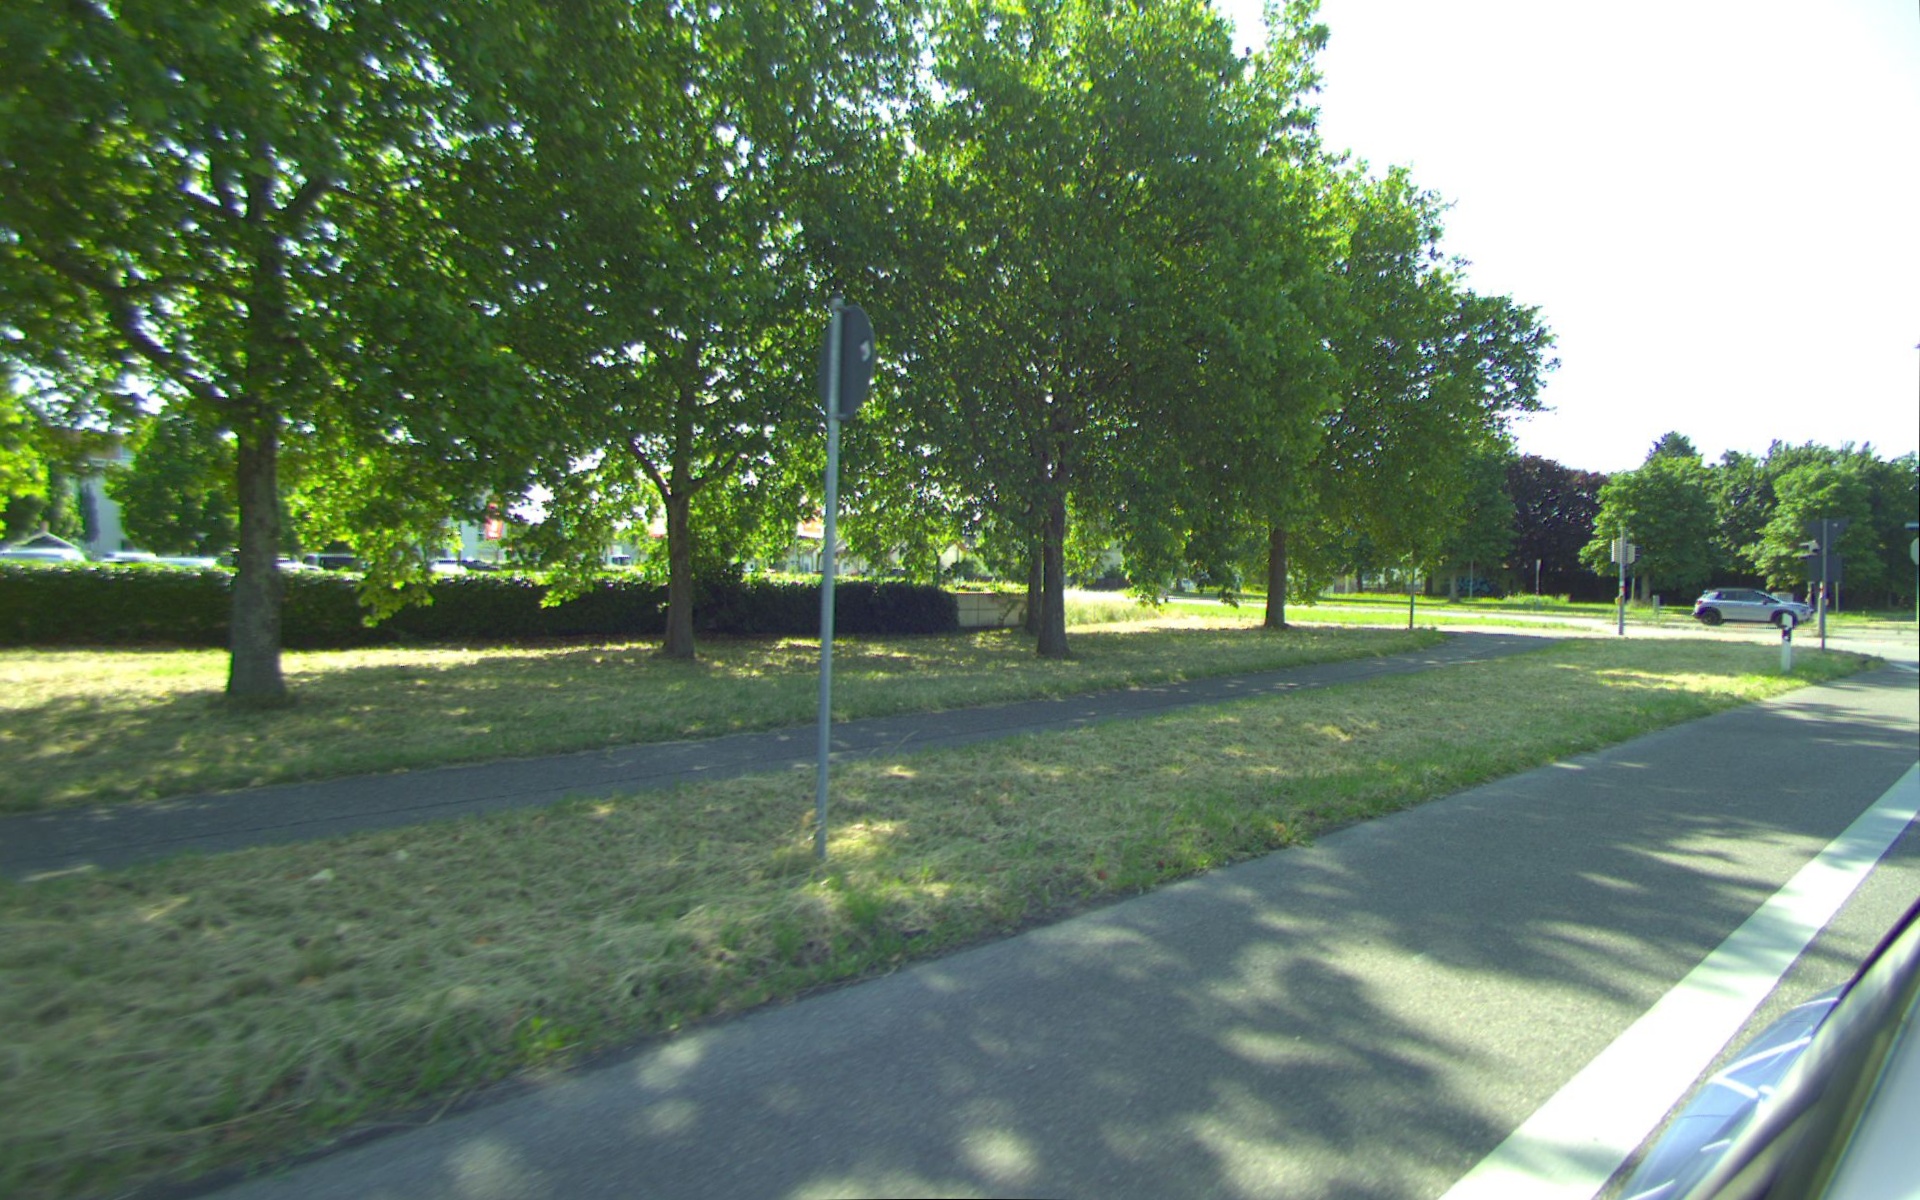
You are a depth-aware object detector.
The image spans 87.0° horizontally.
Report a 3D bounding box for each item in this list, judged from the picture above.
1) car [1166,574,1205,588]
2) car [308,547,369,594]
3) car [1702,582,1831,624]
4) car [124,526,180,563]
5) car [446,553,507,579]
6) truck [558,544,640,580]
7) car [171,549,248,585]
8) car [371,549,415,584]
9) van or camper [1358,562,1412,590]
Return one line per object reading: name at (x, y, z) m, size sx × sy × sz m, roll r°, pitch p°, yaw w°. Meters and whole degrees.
car at (22.462, -1.882, 100.726) m, size 3.929 × 1.304 × 1.731 m, roll 0°, pitch 2°, yaw -40°
car at (-24.881, -1.187, 40.448) m, size 1.961 × 1.749 × 4.003 m, roll 0°, pitch 2°, yaw -33°
car at (34.453, 0.092, 43.307) m, size 1.712 × 1.583 × 4.059 m, roll 0°, pitch 2°, yaw -41°
car at (-43.539, -2.949, 54.606) m, size 1.961 × 1.882 × 4.003 m, roll 0°, pitch 2°, yaw -33°
car at (-39.875, -2.784, 83.482) m, size 4.266 × 2.039 × 1.998 m, roll -1°, pitch 1°, yaw -39°
truck at (-37.572, -3.977, 105.354) m, size 8.145 × 3.589 × 2.618 m, roll 1°, pitch 1°, yaw 18°
car at (-39.331, -1.724, 53.164) m, size 1.946 × 1.772 × 4.518 m, roll 1°, pitch 2°, yaw -19°
car at (-33.001, -1.982, 58.844) m, size 1.961 × 1.949 × 4.003 m, roll 0°, pitch 2°, yaw -33°
van or camper at (44.458, -2.507, 105.987) m, size 1.967 × 2.866 × 4.805 m, roll 0°, pitch 2°, yaw -43°
